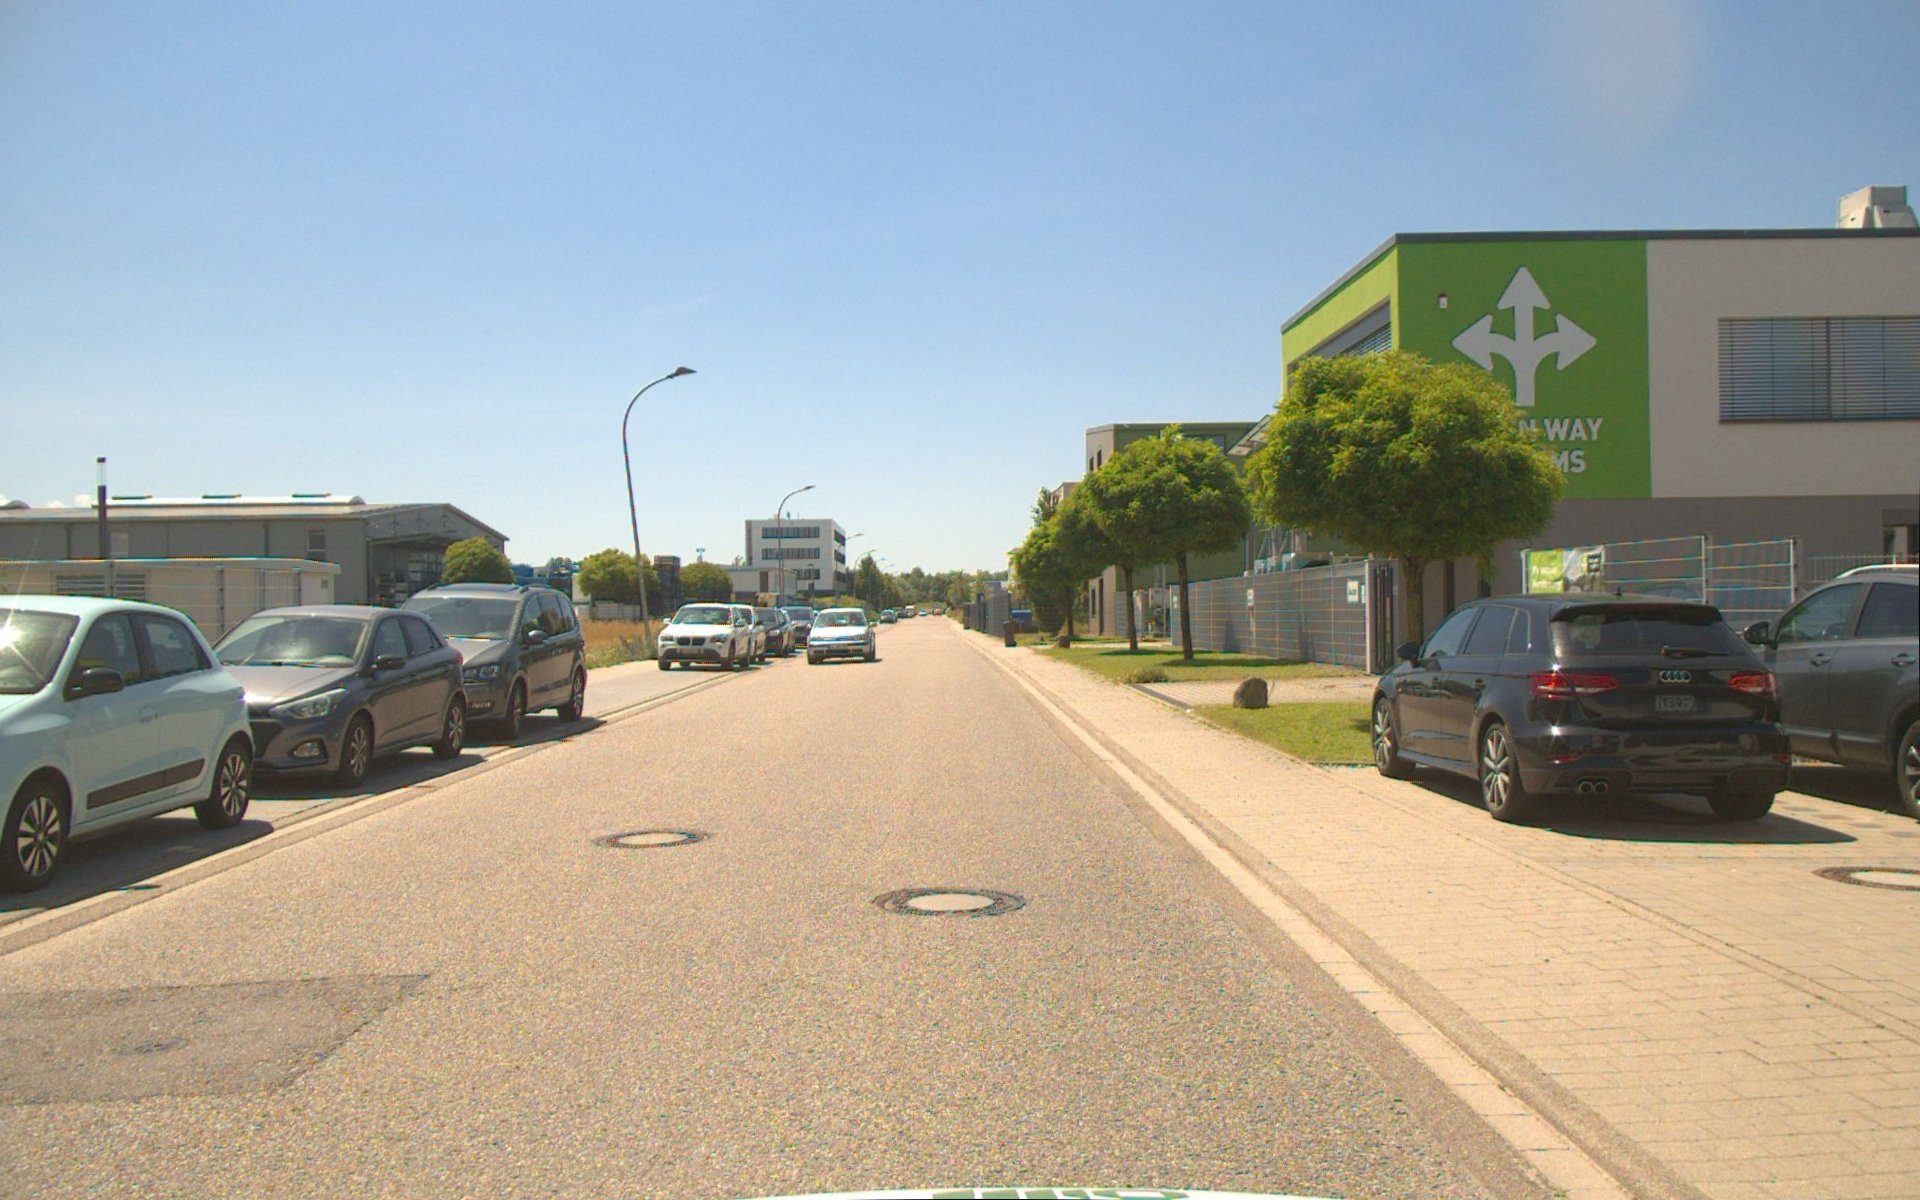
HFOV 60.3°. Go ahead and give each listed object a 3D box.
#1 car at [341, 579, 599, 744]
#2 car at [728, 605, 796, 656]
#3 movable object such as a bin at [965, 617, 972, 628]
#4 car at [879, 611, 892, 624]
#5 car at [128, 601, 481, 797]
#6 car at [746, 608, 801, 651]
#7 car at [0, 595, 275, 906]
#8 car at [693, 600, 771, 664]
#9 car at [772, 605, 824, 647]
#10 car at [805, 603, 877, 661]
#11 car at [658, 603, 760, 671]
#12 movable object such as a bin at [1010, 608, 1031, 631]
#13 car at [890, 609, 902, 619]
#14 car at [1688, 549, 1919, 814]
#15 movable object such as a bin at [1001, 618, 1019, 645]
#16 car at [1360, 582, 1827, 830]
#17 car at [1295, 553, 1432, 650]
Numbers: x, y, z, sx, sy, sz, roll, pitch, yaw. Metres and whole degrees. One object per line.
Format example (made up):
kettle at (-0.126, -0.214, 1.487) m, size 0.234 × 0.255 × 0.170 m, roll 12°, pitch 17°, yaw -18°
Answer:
car at (-5.712, 0.659, 19.893) m, size 1.766 × 1.750 × 4.621 m, roll 0°, pitch 0°, yaw -1°
car at (-6.283, 0.952, 52.781) m, size 1.727 × 1.544 × 4.378 m, roll 0°, pitch 0°, yaw -1°
movable object such as a bin at (0.741, 2.022, 149.506) m, size 0.541 × 0.944 × 0.522 m, roll -5°, pitch 0°, yaw 3°
car at (-8.907, 2.026, 197.138) m, size 1.437 × 1.516 × 3.206 m, roll -1°, pitch 0°, yaw -1°
car at (-5.713, 0.776, 14.954) m, size 1.601 × 1.526 × 3.971 m, roll 0°, pitch 0°, yaw 0°
car at (-6.591, 1.032, 58.680) m, size 1.728 × 1.476 × 4.197 m, roll 0°, pitch 0°, yaw -4°
car at (-5.675, 0.752, 10.033) m, size 1.601 × 1.563 × 3.656 m, roll 0°, pitch 0°, yaw -2°
car at (-6.235, 0.849, 45.524) m, size 1.751 × 1.685 × 3.767 m, roll 0°, pitch 0°, yaw -2°
car at (-6.438, 1.018, 66.202) m, size 1.754 × 1.635 × 4.461 m, roll 0°, pitch -1°, yaw -2°
car at (-3.217, 0.832, 45.461) m, size 1.670 × 1.436 × 4.783 m, roll -3°, pitch 0°, yaw -1°
car at (-6.043, 0.864, 40.211) m, size 1.750 × 1.569 × 4.364 m, roll 0°, pitch 0°, yaw 1°
movable object such as a bin at (3.954, 1.270, 107.750) m, size 1.307 × 1.485 × 0.948 m, roll -1°, pitch -1°, yaw -2°
car at (-9.731, 2.069, 252.105) m, size 1.611 × 1.516 × 3.206 m, roll -1°, pitch 0°, yaw -1°
car at (6.844, 0.515, 11.560) m, size 1.688 × 1.661 × 4.021 m, roll 0°, pitch 0°, yaw -1°
movable object such as a bin at (1.840, 1.148, 61.129) m, size 0.540 × 0.944 × 0.522 m, roll -5°, pitch -1°, yaw 9°
car at (4.236, 0.624, 11.836) m, size 1.658 × 1.453 × 4.245 m, roll 0°, pitch 0°, yaw -1°
car at (11.745, 0.058, 48.721) m, size 2.086 × 2.537 × 7.023 m, roll -3°, pitch 0°, yaw -1°
